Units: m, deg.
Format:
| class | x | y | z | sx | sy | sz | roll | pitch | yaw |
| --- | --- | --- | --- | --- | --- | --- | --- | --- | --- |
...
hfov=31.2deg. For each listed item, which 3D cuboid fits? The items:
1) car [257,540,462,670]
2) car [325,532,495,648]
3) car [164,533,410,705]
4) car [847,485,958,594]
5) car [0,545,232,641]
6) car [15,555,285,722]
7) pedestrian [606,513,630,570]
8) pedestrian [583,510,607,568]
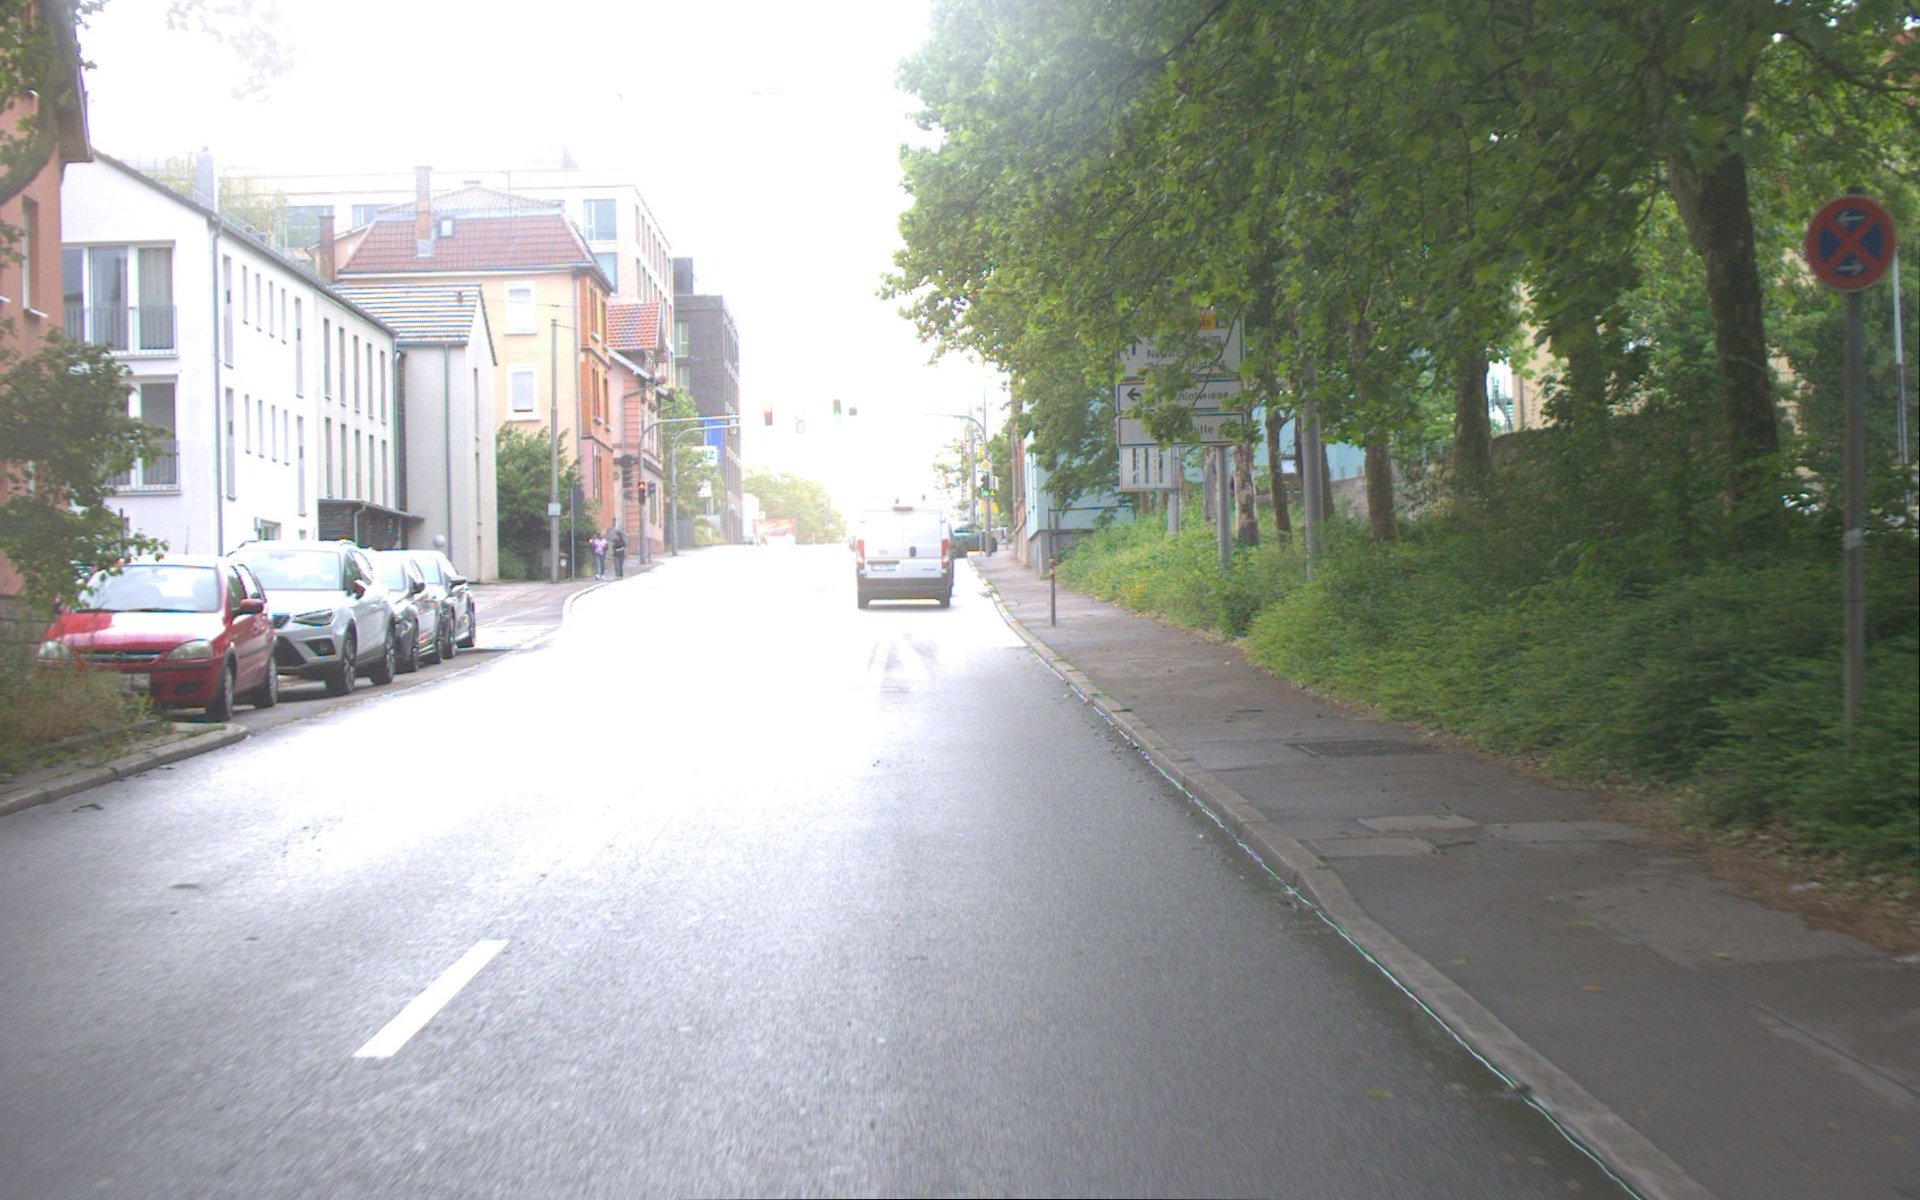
| class | x | y | z | sx | sy | sz | roll | pitch | yaw |
| --- | --- | --- | --- | --- | --- | --- | --- | --- | --- |
| car | -7.240 | 0.022 | 41.852 | 1.743 | 1.477 | 4.386 | -1 | 1 | -1 |
| car | -7.445 | -0.154 | 46.874 | 1.635 | 1.477 | 4.359 | 1 | 1 | -1 |
| car | -6.927 | 0.148 | 35.746 | 1.691 | 1.537 | 4.118 | -3 | 2 | 0 |
| car | -1.237 | -1.304 | 75.707 | 2.336 | 2.223 | 4.000 | -2 | 0 | 0 |
| car | -14.357 | -0.116 | 56.550 | 4.289 | 1.458 | 2.069 | -1 | 1 | 0 |
| car | -7.072 | 0.293 | 30.343 | 1.638 | 1.369 | 3.759 | 0 | 1 | -3 |
| pedestrian | -12.032 | -2.067 | 121.057 | 0.671 | 2.007 | 0.941 | 0 | 1 | 3 |
| pedestrian | -12.843 | -2.148 | 121.078 | 0.671 | 2.007 | 0.941 | 0 | 1 | 3 |
